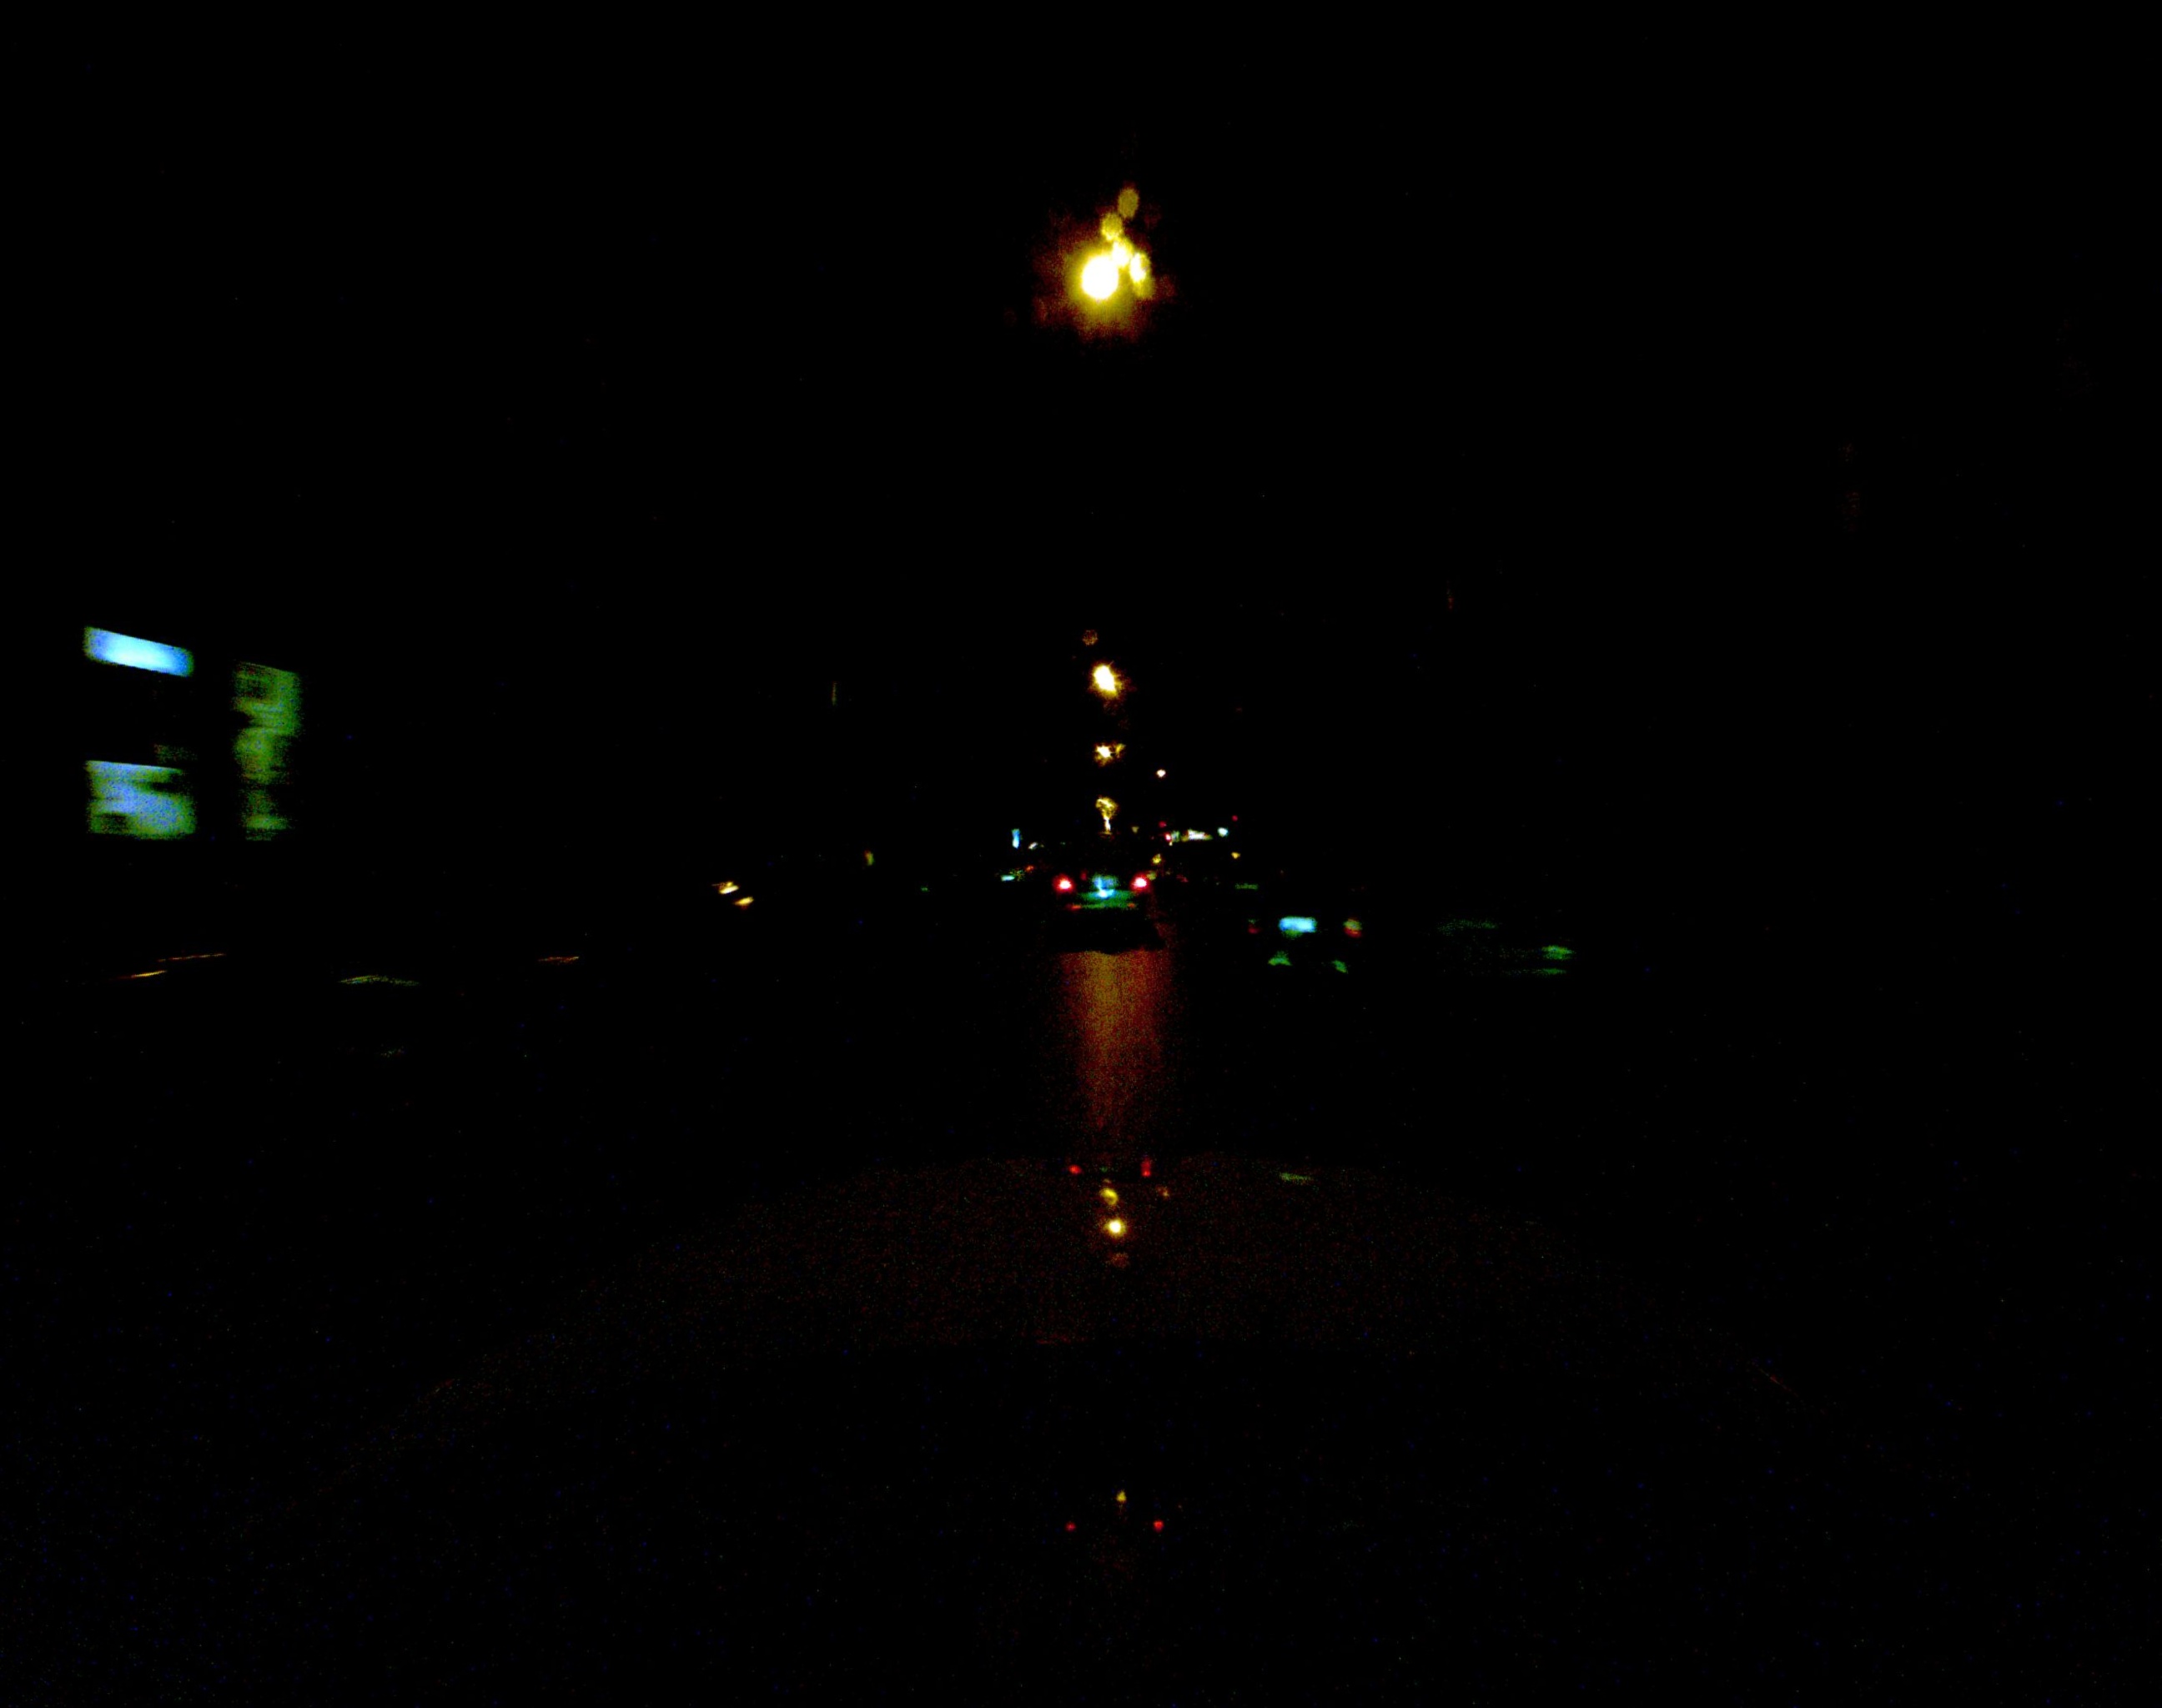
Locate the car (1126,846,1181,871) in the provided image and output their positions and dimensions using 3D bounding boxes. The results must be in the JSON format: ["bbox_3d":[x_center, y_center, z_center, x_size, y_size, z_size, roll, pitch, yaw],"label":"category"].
[{"bbox_3d":[5.007,0.327,56.066,3.580,1.591,1.588,-1,-2,-35],"label":"car"}]

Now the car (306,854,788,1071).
[{"bbox_3d":[-4.501,0.759,7.836,1.680,1.455,4.317,-1,0,2],"label":"car"}]

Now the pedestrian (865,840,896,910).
[{"bbox_3d":[-5.301,0.553,21.559,0.589,1.820,0.795,1,0,2],"label":"pedestrian"}]

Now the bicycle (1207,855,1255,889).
[{"bbox_3d":[5.068,0.615,27.583,0.521,1.076,1.810,-3,0,-29],"label":"bicycle"}]

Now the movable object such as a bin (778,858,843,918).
[{"bbox_3d":[-6.733,0.824,20.343,1.136,1.420,1.250,0,0,4],"label":"movable object such as a bin"}]

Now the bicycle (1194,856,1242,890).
[{"bbox_3d":[4.584,0.646,27.299,0.521,1.076,1.810,-3,0,-29],"label":"bicycle"}]

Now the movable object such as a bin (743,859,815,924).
[{"bbox_3d":[-6.864,0.839,18.572,1.136,1.420,1.155,0,0,4],"label":"movable object such as a bin"}]

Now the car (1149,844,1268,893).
[{"bbox_3d":[4.688,0.530,29.911,4.007,1.492,1.720,-4,0,-25],"label":"car"}]

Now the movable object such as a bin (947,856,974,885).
[{"bbox_3d":[-5.954,0.797,40.326,1.043,1.398,1.159,0,0,4],"label":"movable object such as a bin"}]

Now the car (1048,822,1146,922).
[{"bbox_3d":[0.407,0.399,19.008,1.986,2.050,4.002,-1,-1,2],"label":"car"}]

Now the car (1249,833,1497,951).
[{"bbox_3d":[4.631,0.515,12.855,3.661,1.580,1.579,-2,0,-27],"label":"car"}]

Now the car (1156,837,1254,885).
[{"bbox_3d":[5.023,0.276,33.043,3.574,1.711,1.631,-4,0,-27],"label":"car"}]

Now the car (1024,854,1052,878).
[{"bbox_3d":[-2.958,0.788,56.363,1.808,1.557,4.074,-1,0,-2],"label":"car"}]

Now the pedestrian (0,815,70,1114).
[{"bbox_3d":[-6.762,0.667,4.893,0.637,1.781,0.550,-2,0,2],"label":"pedestrian"}]

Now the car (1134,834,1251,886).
[{"bbox_3d":[4.912,0.226,35.735,4.813,2.049,2.047,-2,0,-29],"label":"car"}]

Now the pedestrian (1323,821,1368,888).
[{"bbox_3d":[7.679,0.003,23.658,0.866,1.856,0.993,-4,0,-1],"label":"pedestrian"}]

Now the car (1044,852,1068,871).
[{"bbox_3d":[-2.294,0.698,75.777,1.876,1.685,4.002,-1,0,2],"label":"car"}]

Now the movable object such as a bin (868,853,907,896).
[{"bbox_3d":[-6.603,0.690,27.812,0.970,1.420,1.134,0,0,4],"label":"movable object such as a bin"}]

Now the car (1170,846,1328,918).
[{"bbox_3d":[4.051,0.602,19.475,3.668,1.580,1.576,0,0,-34],"label":"car"}]

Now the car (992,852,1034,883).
[{"bbox_3d":[-3.362,0.651,40.988,1.580,1.482,3.796,-1,0,3],"label":"car"}]

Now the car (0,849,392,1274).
[{"bbox_3d":[-4.770,0.771,2.609,1.597,1.552,4.027,-1,0,2],"label":"car"}]

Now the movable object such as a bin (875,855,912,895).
[{"bbox_3d":[-6.693,0.735,29.101,0.970,1.420,1.134,0,0,4],"label":"movable object such as a bin"}]

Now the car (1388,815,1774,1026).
[{"bbox_3d":[5.000,0.472,7.974,4.017,1.452,1.670,-4,0,-34],"label":"car"}]

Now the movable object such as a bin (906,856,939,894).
[{"bbox_3d":[-6.076,0.796,31.236,0.970,1.398,1.134,0,0,4],"label":"movable object such as a bin"}]

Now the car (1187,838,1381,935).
[{"bbox_3d":[3.876,0.527,15.296,3.671,1.580,1.574,-2,0,-38],"label":"car"}]

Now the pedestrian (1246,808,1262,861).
[{"bbox_3d":[11.658,-1.321,54.954,0.888,3.527,0.791,-1,0,2],"label":"pedestrian"}]

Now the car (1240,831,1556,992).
[{"bbox_3d":[3.822,0.557,9.635,3.698,1.460,1.587,-3,0,-34],"label":"car"}]

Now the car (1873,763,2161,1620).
[{"bbox_3d":[3.906,0.515,2.112,4.016,1.552,1.786,-3,0,-33],"label":"car"}]
